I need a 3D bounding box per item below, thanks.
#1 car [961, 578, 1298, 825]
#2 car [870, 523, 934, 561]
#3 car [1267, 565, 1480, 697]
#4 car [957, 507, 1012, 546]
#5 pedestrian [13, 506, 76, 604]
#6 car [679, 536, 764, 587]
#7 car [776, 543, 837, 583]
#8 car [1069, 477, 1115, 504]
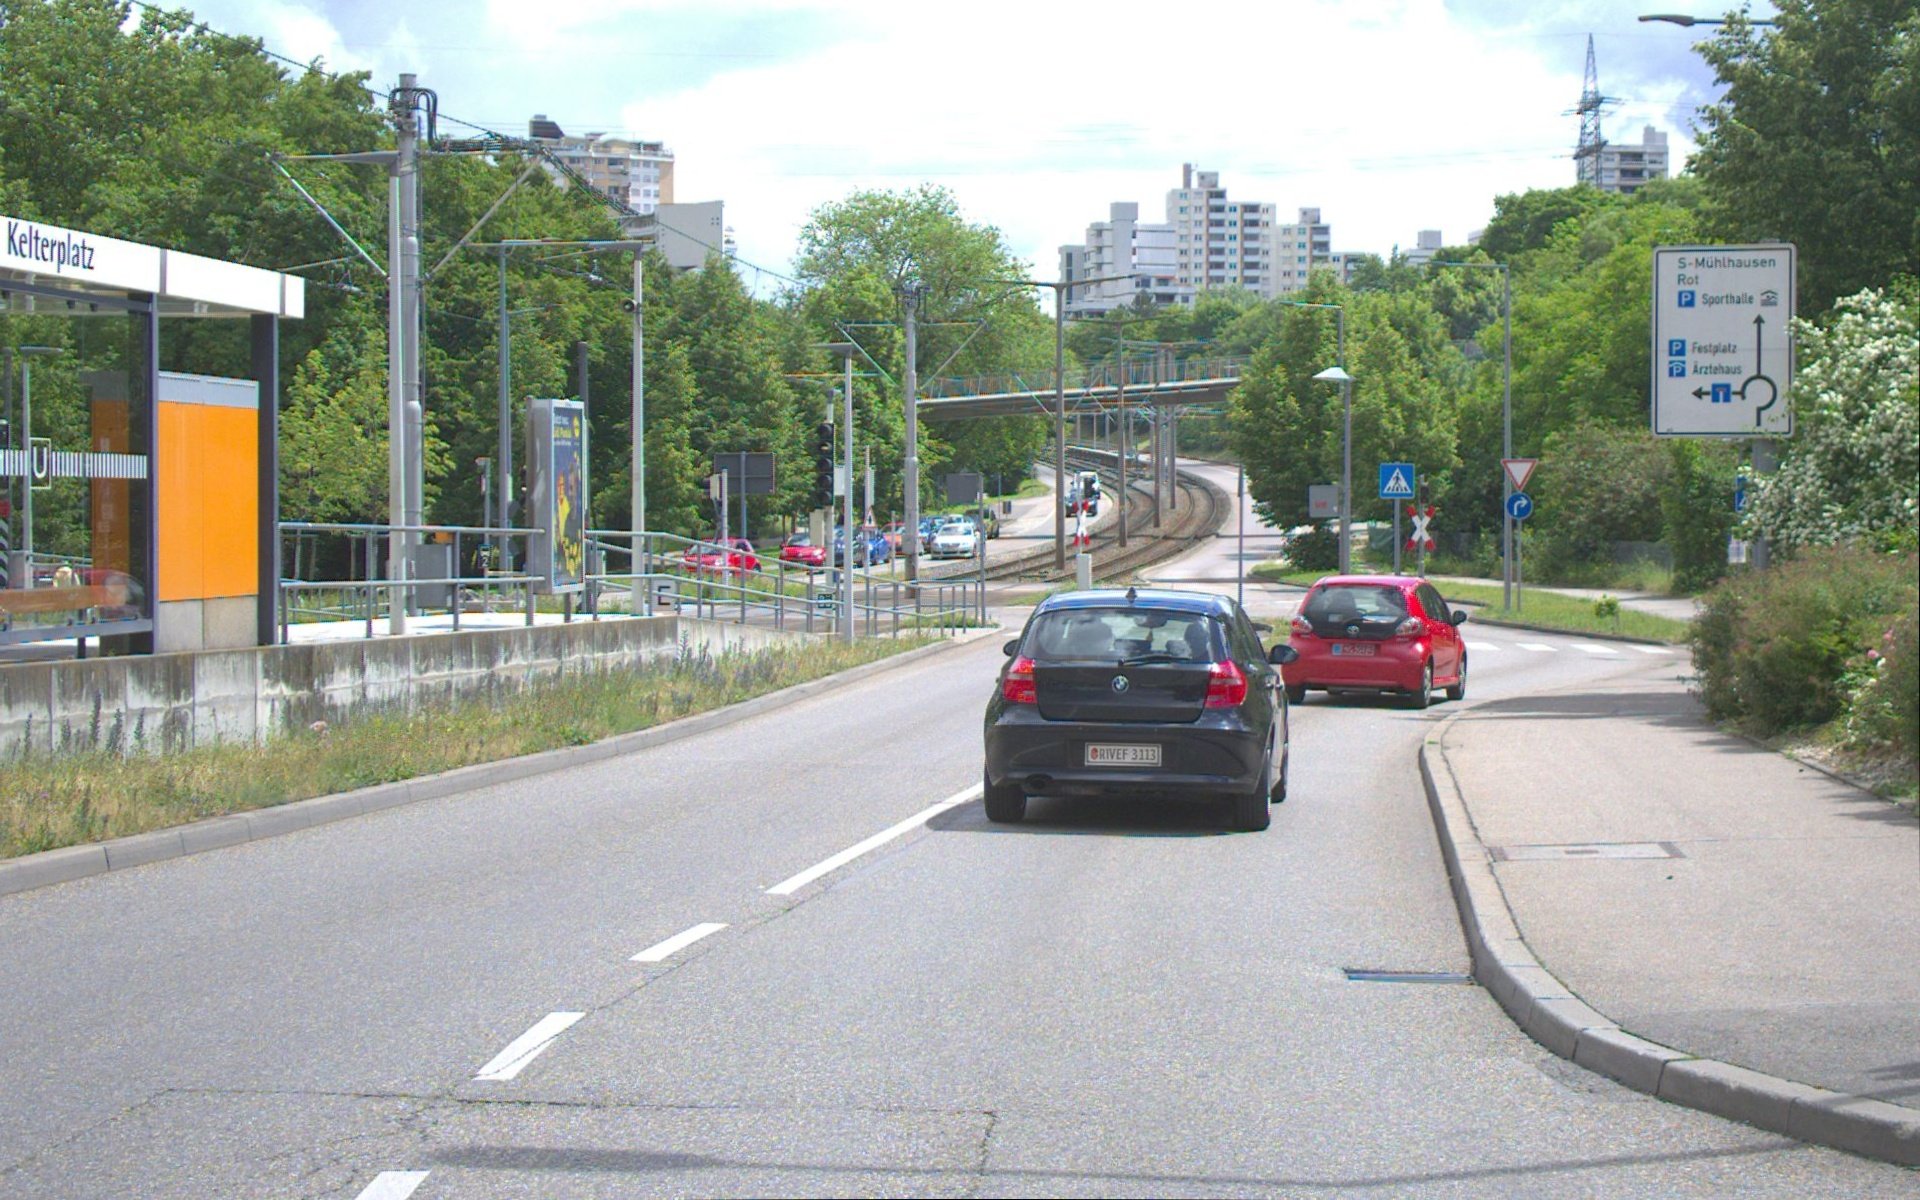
[{"bbox_3d":[1.168,0.586,21.812,1.816,1.416,3.999,0,0,7],"label":"car"},{"bbox_3d":[-2.415,-2.447,143.778,1.913,1.556,3.999,1,2,10],"label":"car"},{"bbox_3d":[4.741,0.319,39.067,1.767,1.427,3.476,0,0,18],"label":"car"},{"bbox_3d":[1.226,-3.648,170.110,1.994,1.856,3.999,1,2,11],"label":"car"},{"bbox_3d":[-19.020,-0.936,71.448,0.961,2.006,0.821,1,2,27],"label":"pedestrian"},{"bbox_3d":[-7.281,-1.184,105.073,1.720,1.498,2.965,1,2,15],"label":"car"},{"bbox_3d":[-5.467,-1.339,122.788,1.528,1.366,3.596,0,1,8],"label":"car"},{"bbox_3d":[7.903,-6.541,206.175,1.994,1.592,4.417,0,1,12],"label":"car"}]
